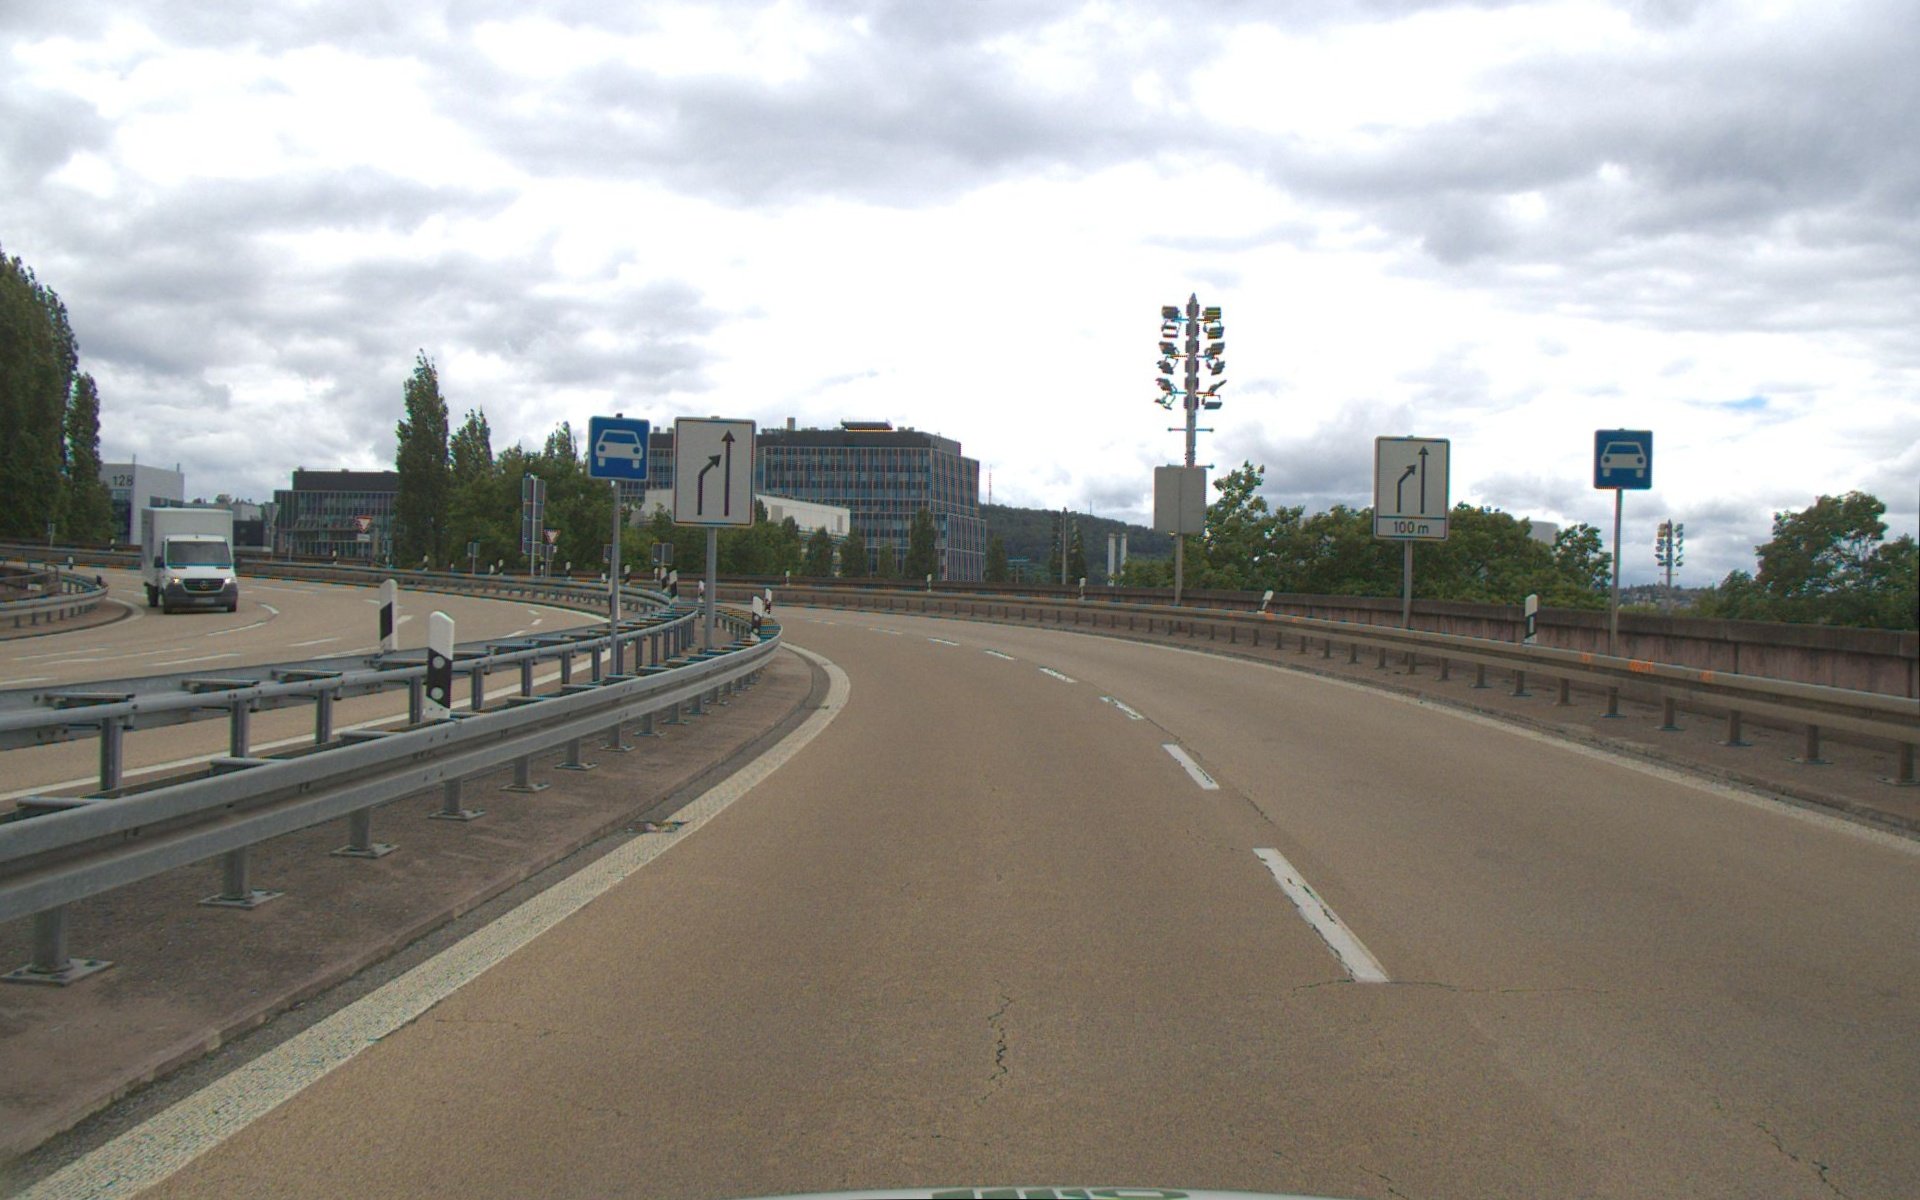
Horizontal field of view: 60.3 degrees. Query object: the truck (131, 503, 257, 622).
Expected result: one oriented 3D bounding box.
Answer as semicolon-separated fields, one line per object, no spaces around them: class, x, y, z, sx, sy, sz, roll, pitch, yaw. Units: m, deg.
truck;-23.487;-1.179;50.526;2.324;3.320;6.914;3;1;-34
